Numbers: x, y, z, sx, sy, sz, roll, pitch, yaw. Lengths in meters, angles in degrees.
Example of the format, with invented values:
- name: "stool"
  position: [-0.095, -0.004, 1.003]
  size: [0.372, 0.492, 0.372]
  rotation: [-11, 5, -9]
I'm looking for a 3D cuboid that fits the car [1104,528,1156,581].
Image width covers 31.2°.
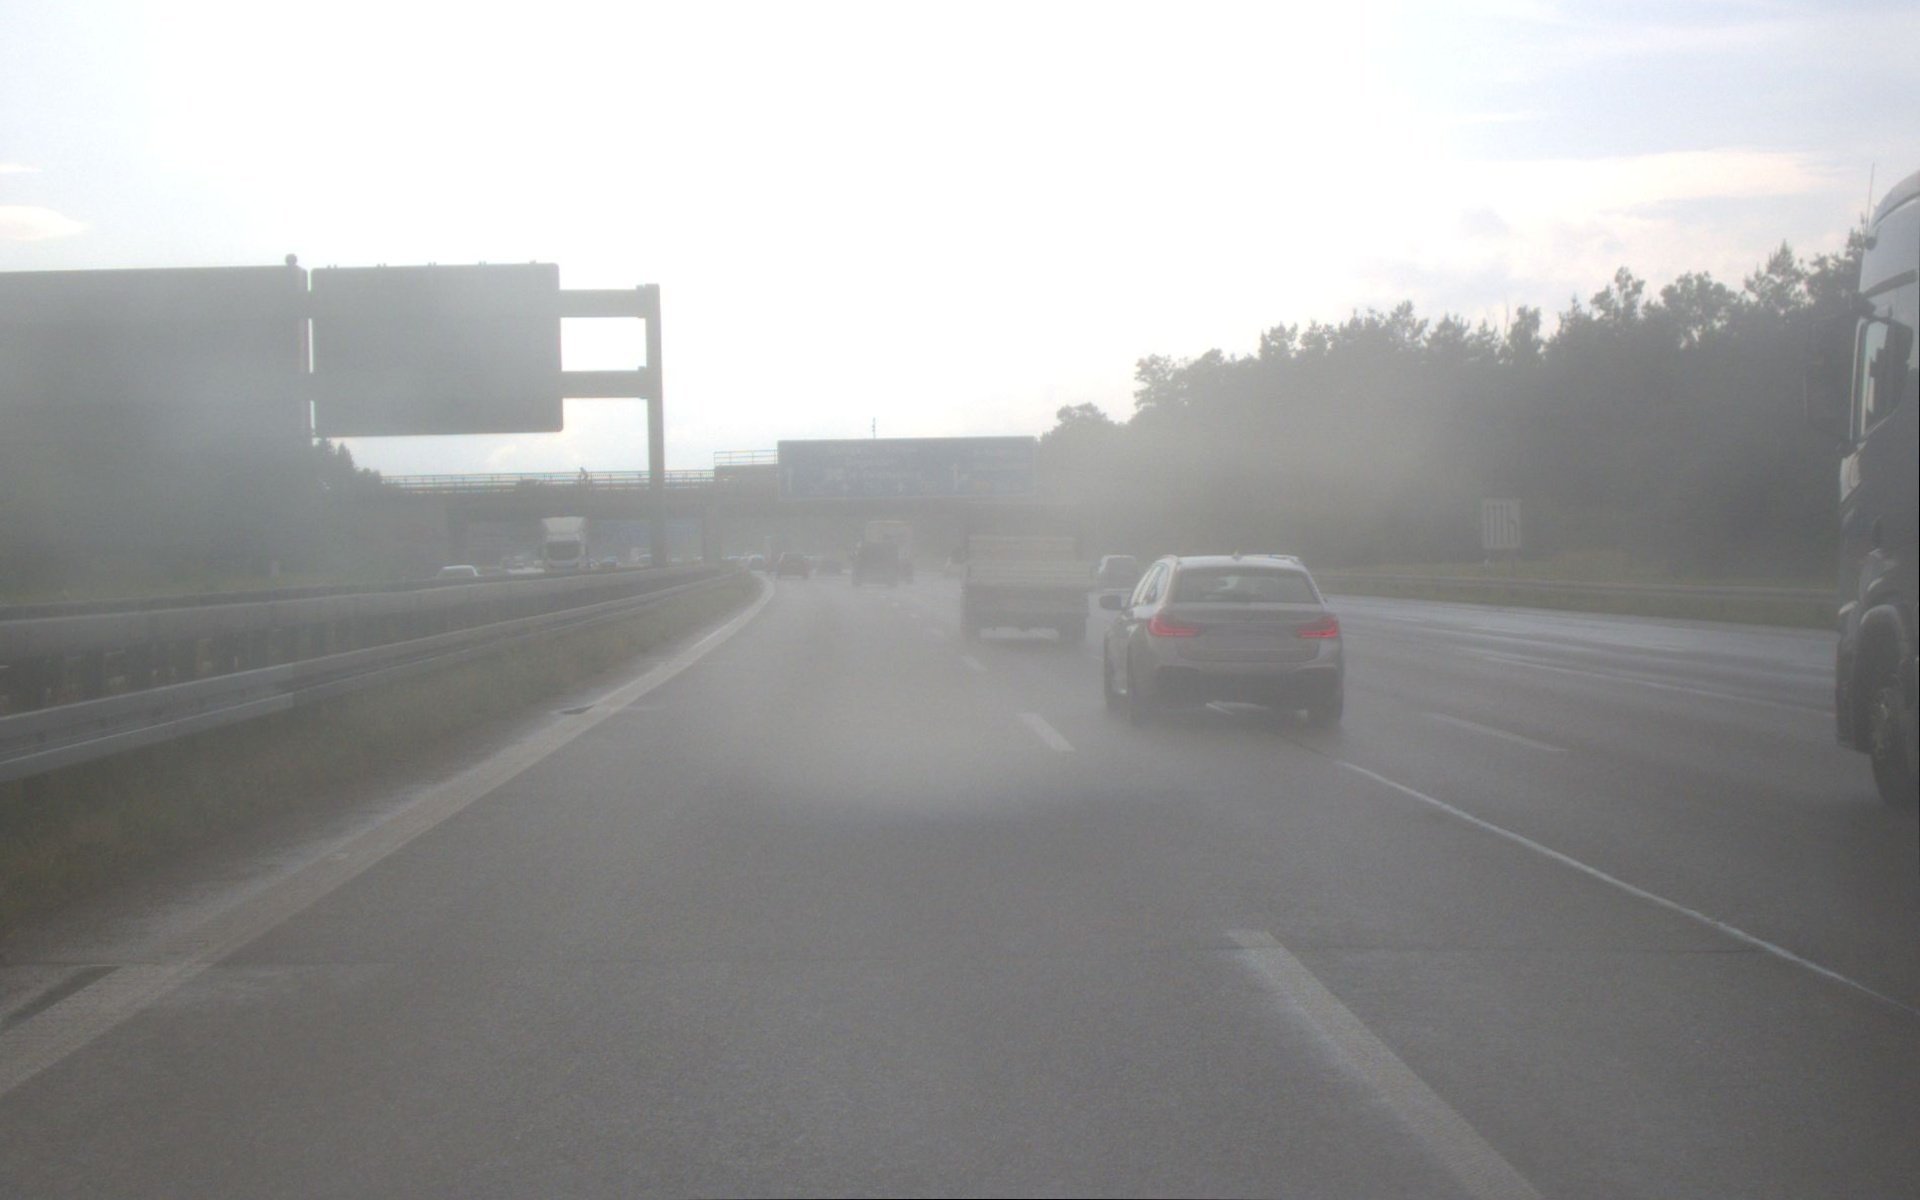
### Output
- name: "car"
  position: [6.766, -1.827, 137.069]
  size: [1.994, 2.007, 4.000]
  rotation: [1, 1, 3]

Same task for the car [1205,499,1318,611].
- name: "car"
  position: [5.580, -0.849, 63.963]
  size: [1.908, 2.007, 4.000]
  rotation: [0, 1, 3]

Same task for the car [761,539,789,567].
- name: "car"
  position: [-13.998, -3.569, 259.782]
  size: [1.795, 2.007, 4.000]
  rotation: [1, 1, 1]

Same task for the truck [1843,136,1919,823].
- name: "truck"
  position: [6.546, -0.655, 18.210]
  size: [2.293, 3.854, 5.392]
  rotation: [0, 1, -1]

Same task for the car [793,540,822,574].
- name: "car"
  position: [-9.354, -2.633, 211.678]
  size: [1.617, 2.007, 4.000]
  rotation: [1, 1, -1]

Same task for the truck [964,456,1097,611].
- name: "truck"
  position: [1.222, -1.120, 57.860]
  size: [2.137, 2.480, 5.313]
  rotation: [0, 1, 2]

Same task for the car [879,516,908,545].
- name: "car"
  position: [-4.833, -5.065, 250.469]
  size: [1.993, 2.007, 4.000]
  rotation: [1, 1, -1]

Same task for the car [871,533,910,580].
- name: "car"
  position: [-3.079, -1.936, 152.508]
  size: [1.674, 2.007, 4.000]
  rotation: [1, 1, -1]

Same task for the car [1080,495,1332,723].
- name: "car"
  position: [2.190, 0.011, 31.220]
  size: [2.078, 1.878, 5.011]
  rotation: [1, 2, 3]
